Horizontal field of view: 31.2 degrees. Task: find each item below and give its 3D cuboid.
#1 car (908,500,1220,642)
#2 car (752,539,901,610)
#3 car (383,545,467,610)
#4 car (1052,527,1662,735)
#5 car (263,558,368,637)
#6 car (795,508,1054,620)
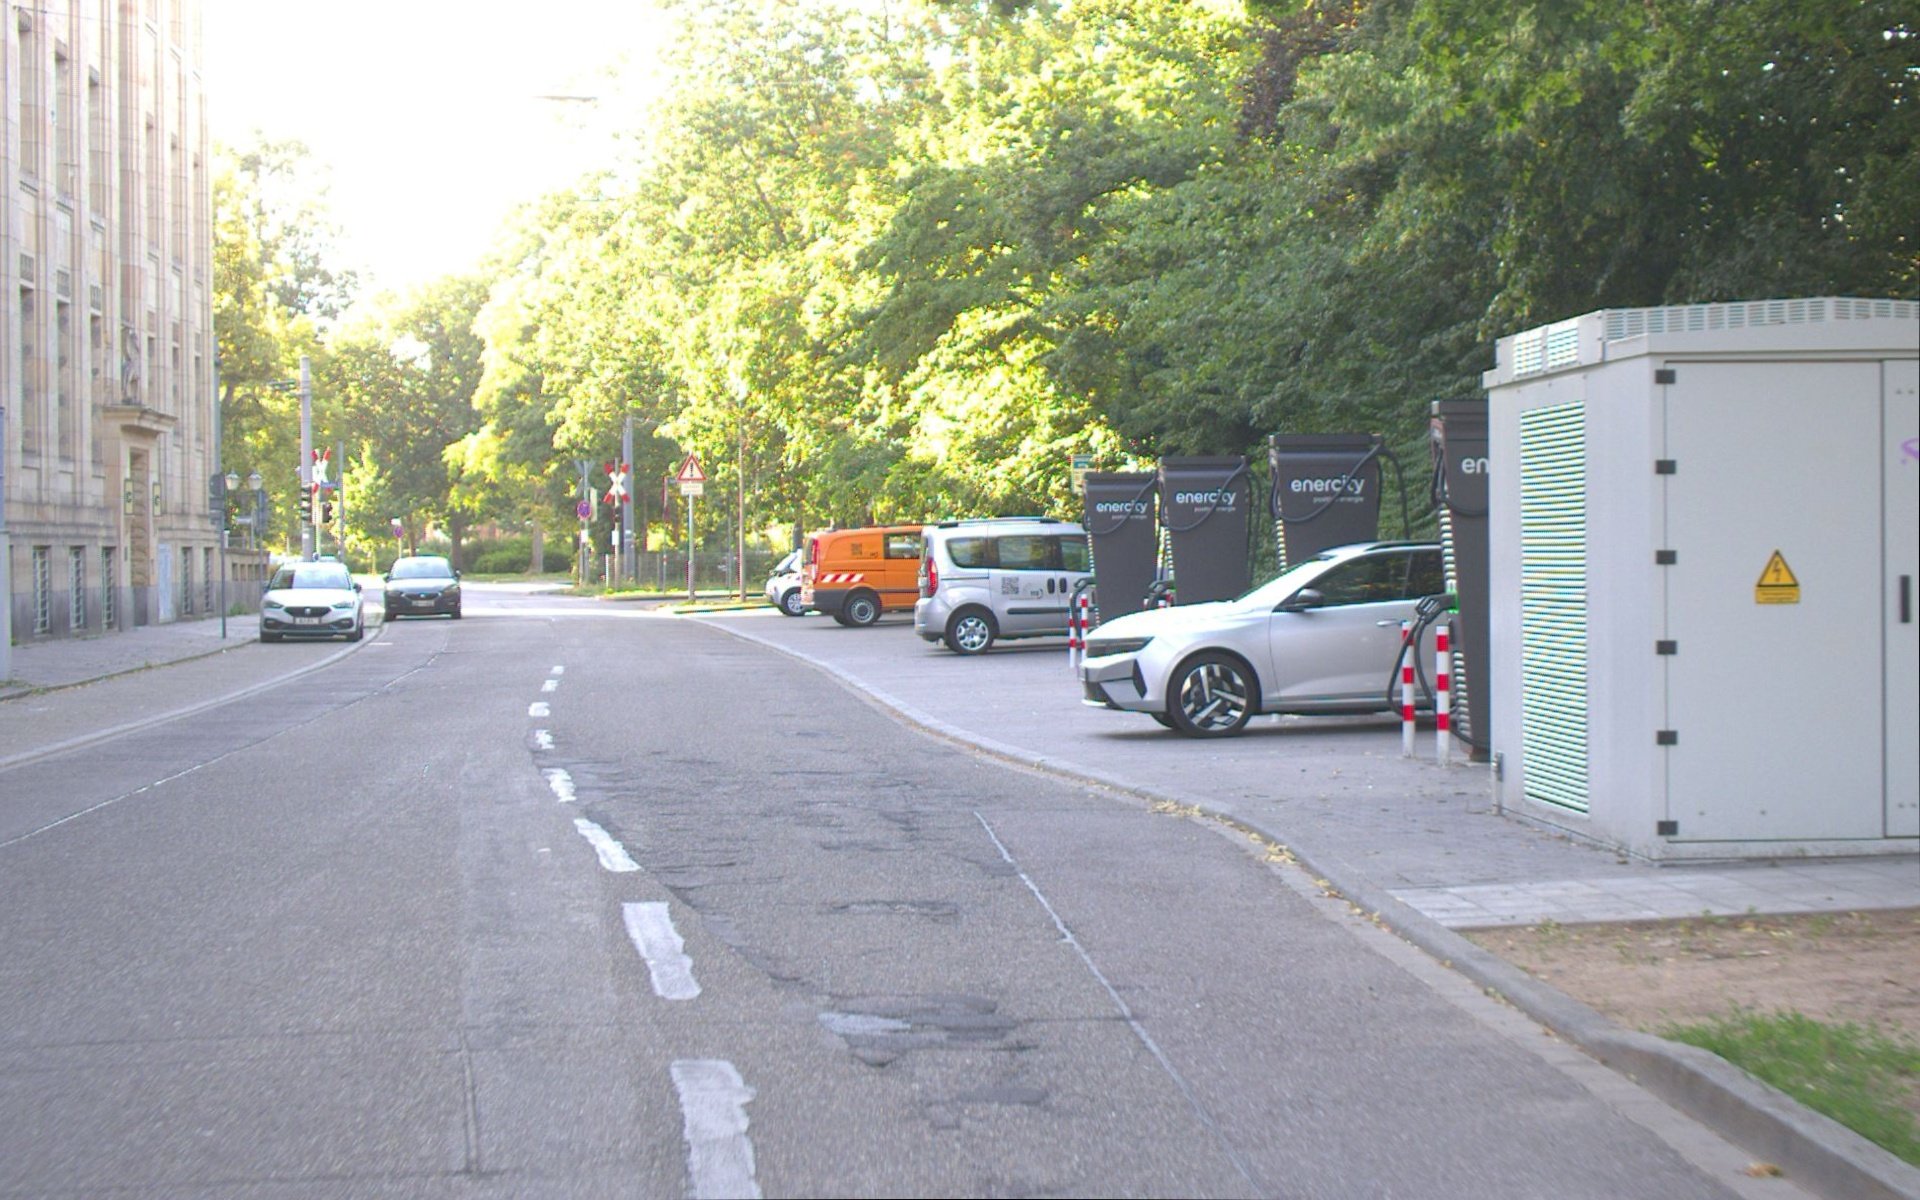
[{"bbox_3d":[1.443,-0.411,49.049,4.228,1.853,2.000,-2,0,-4],"label":"car"},{"bbox_3d":[-3.064,-0.585,78.658,3.143,1.498,1.541,-2,1,-11],"label":"car"},{"bbox_3d":[-12.619,-0.561,81.288,1.878,1.461,4.374,0,1,-8],"label":"car"},{"bbox_3d":[3.056,0.217,26.973,4.440,1.464,1.783,-1,1,-6],"label":"car"},{"bbox_3d":[-11.944,-0.073,63.886,1.727,1.392,4.374,0,1,-8],"label":"car"},{"bbox_3d":[-0.721,-0.718,68.285,4.817,2.007,1.803,-2,1,-11],"label":"car"}]
